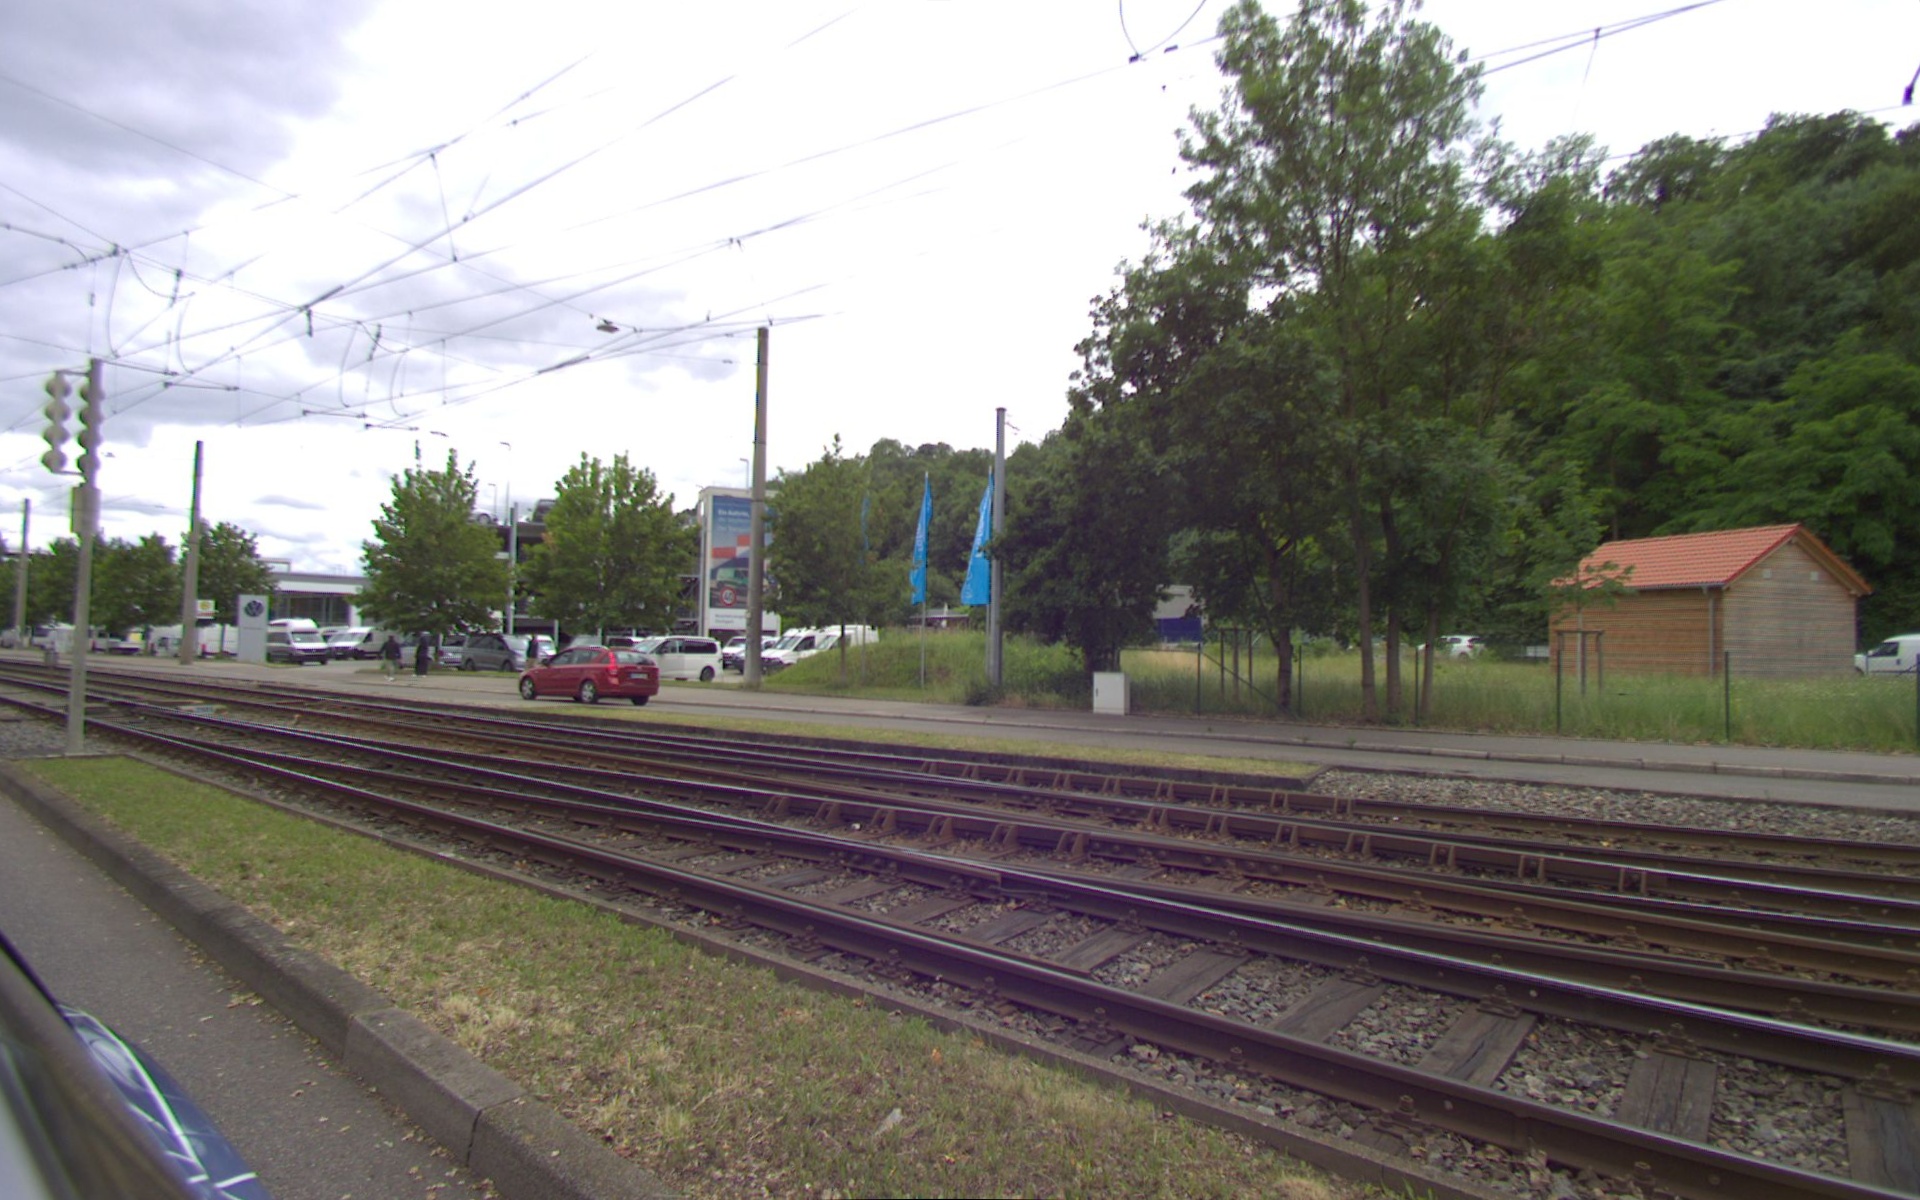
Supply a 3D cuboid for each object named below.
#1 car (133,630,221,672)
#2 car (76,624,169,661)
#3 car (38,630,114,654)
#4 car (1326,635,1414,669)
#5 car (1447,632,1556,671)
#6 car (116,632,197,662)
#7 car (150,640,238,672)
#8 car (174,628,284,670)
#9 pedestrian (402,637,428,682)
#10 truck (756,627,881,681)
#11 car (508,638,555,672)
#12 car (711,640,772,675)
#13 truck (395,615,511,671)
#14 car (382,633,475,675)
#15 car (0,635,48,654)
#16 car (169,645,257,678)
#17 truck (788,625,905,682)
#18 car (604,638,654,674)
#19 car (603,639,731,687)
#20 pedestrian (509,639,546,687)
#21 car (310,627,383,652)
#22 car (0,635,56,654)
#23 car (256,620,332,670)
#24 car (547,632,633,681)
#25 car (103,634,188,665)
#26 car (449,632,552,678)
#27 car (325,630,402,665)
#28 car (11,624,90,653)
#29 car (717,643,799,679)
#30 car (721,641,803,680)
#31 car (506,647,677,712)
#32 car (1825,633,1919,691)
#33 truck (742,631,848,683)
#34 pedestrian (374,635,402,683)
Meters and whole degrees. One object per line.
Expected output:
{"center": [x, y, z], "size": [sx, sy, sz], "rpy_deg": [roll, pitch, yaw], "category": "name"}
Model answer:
{"center": [-54.470, 3.531, 70.513], "size": [1.996, 2.841, 4.334], "rpy_deg": [-1, -3, 30], "category": "car"}
{"center": [-63.230, 3.223, 76.523], "size": [2.107, 2.719, 4.930], "rpy_deg": [-1, -3, 30], "category": "car"}
{"center": [-72.795, 3.485, 83.382], "size": [2.000, 1.859, 4.327], "rpy_deg": [-2, -4, 35], "category": "car"}
{"center": [20.735, 2.627, 51.346], "size": [1.965, 1.674, 4.012], "rpy_deg": [2, -3, -19], "category": "car"}
{"center": [24.389, 2.318, 45.748], "size": [1.965, 1.674, 4.012], "rpy_deg": [2, -3, -19], "category": "car"}
{"center": [-60.286, 3.553, 75.993], "size": [1.996, 2.189, 4.334], "rpy_deg": [-1, -3, 30], "category": "car"}
{"center": [-52.470, 3.809, 69.395], "size": [1.996, 2.121, 4.334], "rpy_deg": [-1, -3, 30], "category": "car"}
{"center": [-48.056, 3.255, 66.657], "size": [2.241, 2.622, 5.426], "rpy_deg": [-1, -4, 34], "category": "car"}
{"center": [-21.455, 2.320, 39.847], "size": [0.854, 1.726, 0.622], "rpy_deg": [-2, -2, 37], "category": "pedestrian"}
{"center": [-7.090, 2.747, 51.007], "size": [5.679, 2.608, 2.476], "rpy_deg": [3, -4, -30], "category": "truck"}
{"center": [-24.361, 3.118, 57.480], "size": [1.965, 1.845, 4.481], "rpy_deg": [2, -4, -29], "category": "car"}
{"center": [-13.368, 3.493, 62.126], "size": [1.982, 2.029, 4.257], "rpy_deg": [-1, -3, 15], "category": "car"}
{"center": [-29.394, 2.528, 58.884], "size": [5.835, 3.108, 2.126], "rpy_deg": [2, -4, -26], "category": "truck"}
{"center": [-26.859, 2.726, 51.108], "size": [4.904, 2.029, 1.978], "rpy_deg": [-1, -4, 33], "category": "car"}
{"center": [-85.170, 4.030, 91.282], "size": [1.996, 1.630, 3.951], "rpy_deg": [-2, -4, 36], "category": "car"}
{"center": [-50.249, 4.117, 68.154], "size": [1.996, 2.121, 4.334], "rpy_deg": [-1, -3, 30], "category": "car"}
{"center": [-5.422, 2.566, 48.376], "size": [4.984, 2.608, 2.476], "rpy_deg": [2, -3, -24], "category": "truck"}
{"center": [-19.573, 3.314, 59.749], "size": [1.965, 2.028, 4.481], "rpy_deg": [2, -4, -29], "category": "car"}
{"center": [-12.385, 2.653, 43.063], "size": [2.161, 1.902, 5.013], "rpy_deg": [-1, -3, 34], "category": "car"}
{"center": [-15.549, 2.243, 36.383], "size": [1.037, 1.668, 0.713], "rpy_deg": [-1, -1, 27], "category": "pedestrian"}
{"center": [-51.465, 3.348, 84.912], "size": [1.996, 2.029, 4.799], "rpy_deg": [-1, -4, 36], "category": "car"}
{"center": [-83.222, 3.937, 89.557], "size": [1.998, 1.630, 4.331], "rpy_deg": [-1, -3, 32], "category": "car"}
{"center": [-42.781, 2.898, 64.968], "size": [5.926, 3.042, 2.088], "rpy_deg": [-2, -4, 37], "category": "car"}
{"center": [-16.435, 2.502, 45.236], "size": [2.135, 2.029, 5.074], "rpy_deg": [1, -3, -2], "category": "car"}
{"center": [-58.917, 3.579, 73.282], "size": [1.996, 2.189, 4.334], "rpy_deg": [-1, -3, 30], "category": "car"}
{"center": [-21.579, 2.565, 47.470], "size": [5.115, 2.029, 1.977], "rpy_deg": [-1, -4, 33], "category": "car"}
{"center": [-45.989, 3.684, 78.201], "size": [1.979, 2.622, 5.943], "rpy_deg": [0, -3, 5], "category": "car"}
{"center": [-75.254, 3.231, 83.765], "size": [2.120, 2.329, 4.457], "rpy_deg": [-2, -4, 35], "category": "car"}
{"center": [-11.711, 3.518, 58.692], "size": [4.198, 2.029, 1.985], "rpy_deg": [3, -4, -38], "category": "car"}
{"center": [-10.921, 3.311, 55.884], "size": [3.935, 2.029, 2.004], "rpy_deg": [2, -3, -38], "category": "car"}
{"center": [-9.796, 2.055, 26.778], "size": [4.489, 1.527, 1.977], "rpy_deg": [-1, -4, 34], "category": "car"}
{"center": [34.404, 2.236, 36.482], "size": [1.965, 2.029, 4.417], "rpy_deg": [2, -3, -24], "category": "car"}
{"center": [-8.769, 3.052, 53.847], "size": [4.985, 2.608, 2.476], "rpy_deg": [3, -4, -30], "category": "truck"}
{"center": [-22.042, 2.259, 39.003], "size": [0.854, 1.827, 0.670], "rpy_deg": [-2, -2, 37], "category": "pedestrian"}
